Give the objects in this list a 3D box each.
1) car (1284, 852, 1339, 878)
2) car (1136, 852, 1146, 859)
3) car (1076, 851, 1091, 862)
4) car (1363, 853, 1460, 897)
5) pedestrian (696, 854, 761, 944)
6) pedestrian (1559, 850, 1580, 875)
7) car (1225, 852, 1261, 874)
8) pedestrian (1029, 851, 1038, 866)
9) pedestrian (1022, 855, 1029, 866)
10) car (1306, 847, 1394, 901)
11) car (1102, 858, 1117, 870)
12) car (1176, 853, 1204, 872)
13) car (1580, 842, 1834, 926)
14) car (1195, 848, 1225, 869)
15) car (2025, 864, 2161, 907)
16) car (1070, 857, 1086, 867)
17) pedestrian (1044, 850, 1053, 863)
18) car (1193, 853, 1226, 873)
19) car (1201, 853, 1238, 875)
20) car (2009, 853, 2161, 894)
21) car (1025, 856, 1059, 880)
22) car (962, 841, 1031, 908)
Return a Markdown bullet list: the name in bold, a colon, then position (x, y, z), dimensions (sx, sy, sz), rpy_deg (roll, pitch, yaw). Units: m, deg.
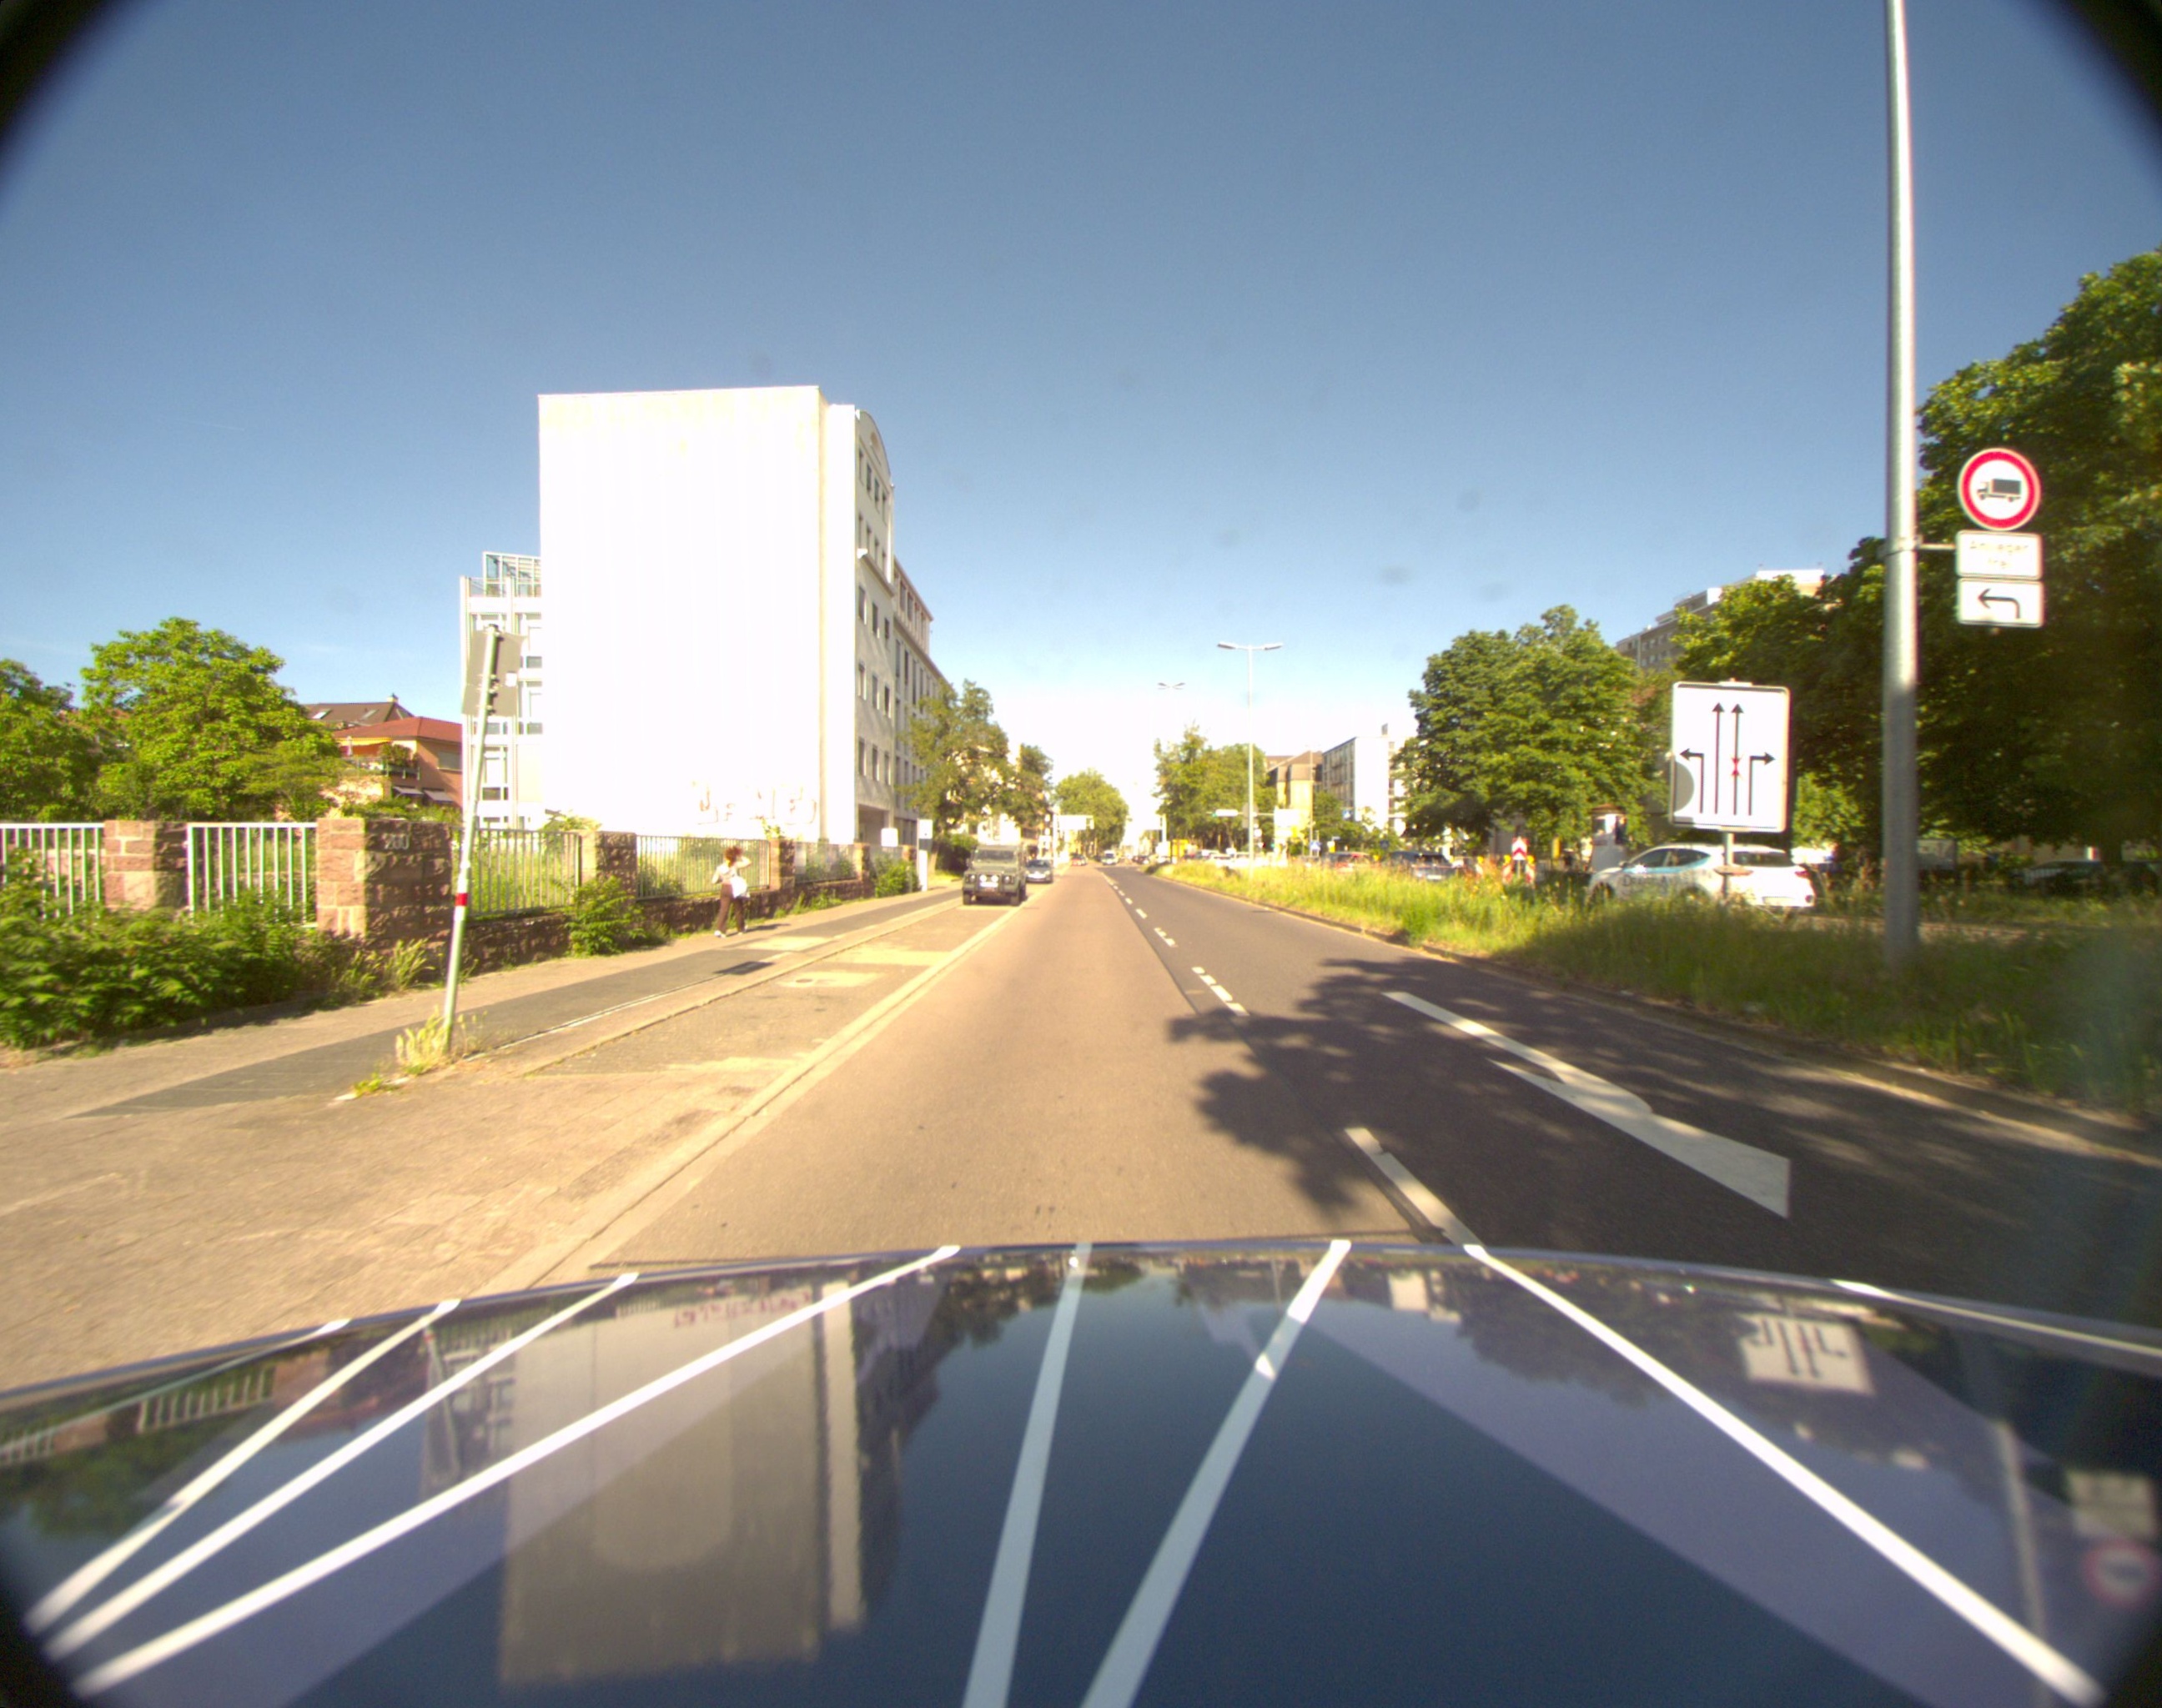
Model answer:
- **car**: position (12.922, 0.589, 42.883), dimensions (1.800, 1.344, 4.258), rpy_deg (-1, 0, 0)
- **car**: position (12.679, 0.273, 160.736), dimensions (1.861, 1.576, 4.278), rpy_deg (-1, 0, 2)
- **car**: position (0.391, 0.459, 122.807), dimensions (1.882, 1.511, 4.000), rpy_deg (-1, 3, 8)
- **car**: position (12.619, 0.740, 29.306), dimensions (1.800, 1.510, 4.444), rpy_deg (-1, 0, 0)
- **pedestrian**: position (-6.401, 0.790, 13.844), dimensions (0.745, 1.574, 0.897), rpy_deg (1, 0, 1)
- **pedestrian**: position (29.944, 0.492, 46.580), dimensions (0.742, 1.526, 0.781), rpy_deg (0, 0, -5)
- **car**: position (12.973, 0.687, 61.216), dimensions (1.800, 1.733, 5.031), rpy_deg (0, 0, 0)
- **pedestrian**: position (-5.558, 0.534, 89.398), dimensions (0.897, 1.614, 0.721), rpy_deg (-1, 4, 11)
- **pedestrian**: position (-6.536, 0.749, 89.526), dimensions (0.647, 1.196, 0.526), rpy_deg (-1, 4, 11)
- **car**: position (9.742, 0.654, 27.879), dimensions (1.757, 1.609, 4.321), rpy_deg (-1, 3, 1)
- **car**: position (4.382, 1.470, 116.197), dimensions (1.882, 1.511, 4.000), rpy_deg (-1, 3, 8)
- **car**: position (9.572, 0.745, 67.034), dimensions (1.800, 1.510, 4.346), rpy_deg (-1, 1, 0)
- **car**: position (12.713, 0.532, 15.862), dimensions (1.800, 1.510, 4.258), rpy_deg (-1, 0, 0)
- **car**: position (12.888, 0.411, 76.216), dimensions (2.239, 2.016, 5.017), rpy_deg (-1, 0, 0)
- **car**: position (34.917, 1.027, 25.779), dimensions (1.769, 1.315, 3.504), rpy_deg (0, 0, 11)
- **car**: position (-0.378, 1.200, 114.432), dimensions (1.882, 1.510, 4.002), rpy_deg (-1, 1, 8)
- **pedestrian**: position (-4.266, 0.340, 101.075), dimensions (0.788, 1.599, 0.927), rpy_deg (-4, 4, -33)
- **car**: position (10.118, 0.705, 60.093), dimensions (1.800, 1.510, 4.363), rpy_deg (-1, 0, 0)
- **car**: position (9.620, 0.670, 53.091), dimensions (1.800, 1.510, 4.205), rpy_deg (0, 0, 0)
- **car**: position (46.457, 0.829, 35.008), dimensions (1.646, 1.484, 4.682), rpy_deg (-1, 3, 1)
- **car**: position (-2.336, 0.869, 46.549), dimensions (1.641, 1.439, 4.157), rpy_deg (0, -1, 3)
- **car**: position (-2.730, 0.605, 25.487), dimensions (1.664, 2.002, 4.776), rpy_deg (1, 1, 1)
